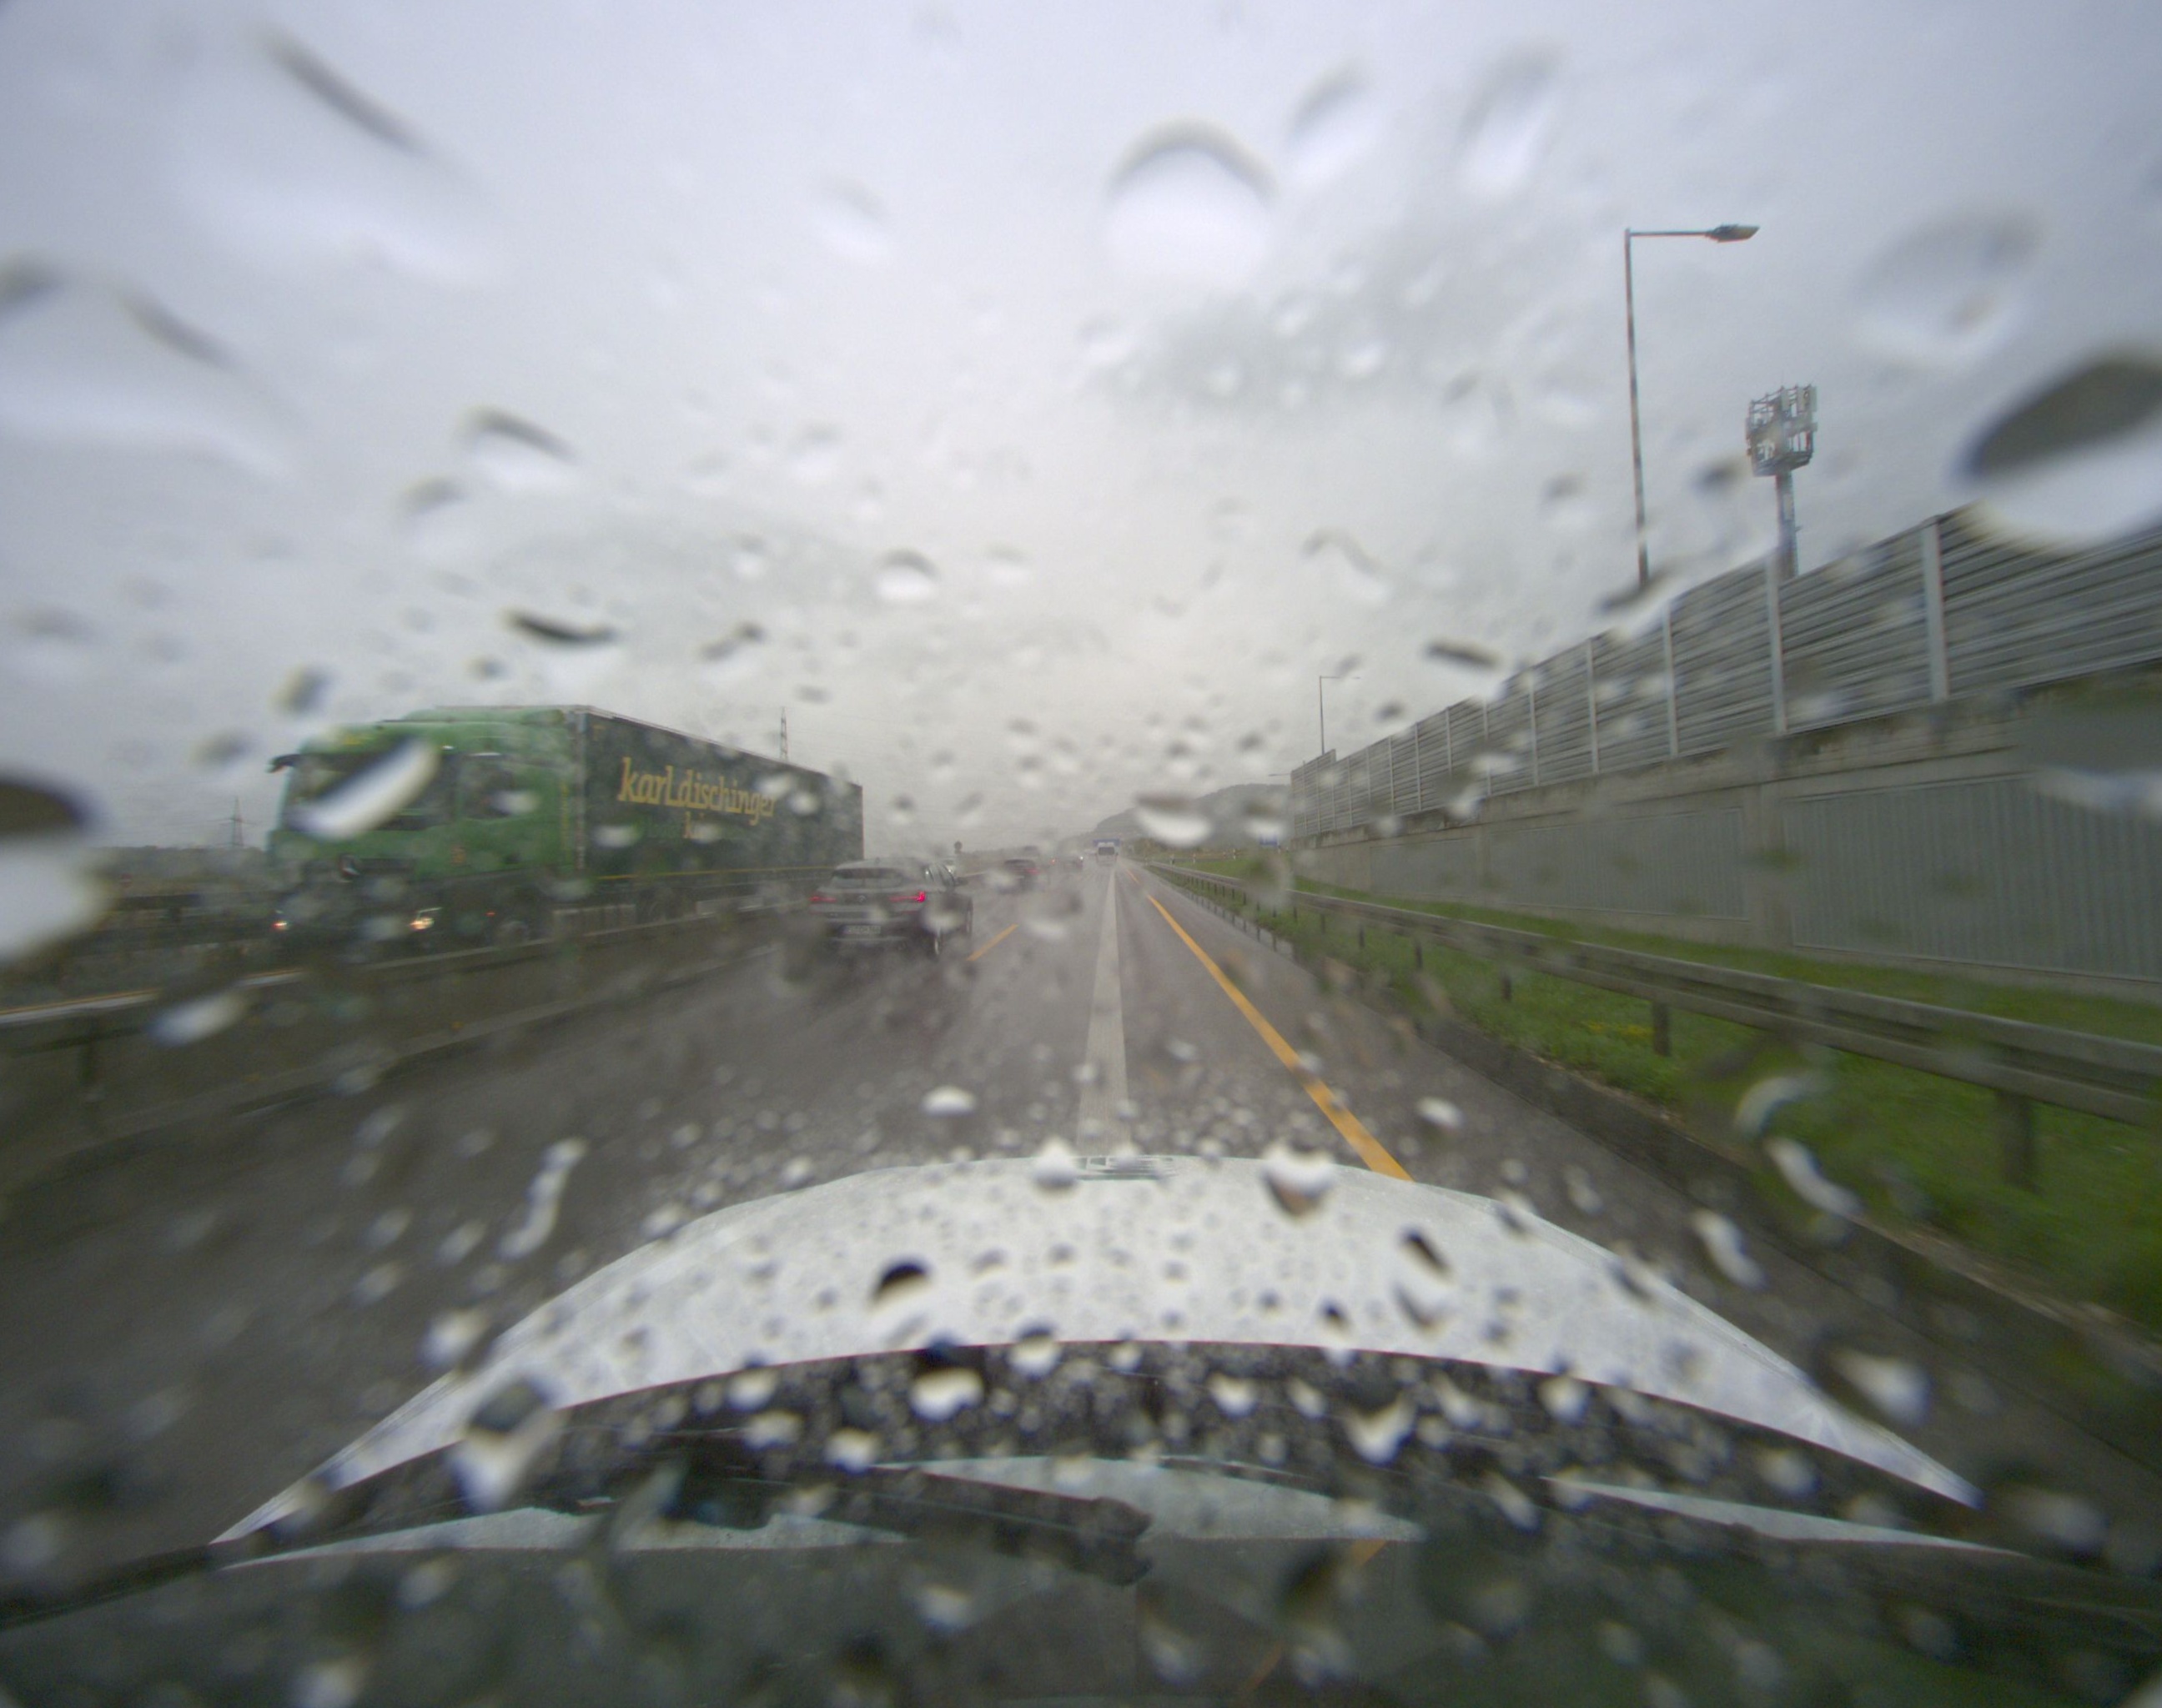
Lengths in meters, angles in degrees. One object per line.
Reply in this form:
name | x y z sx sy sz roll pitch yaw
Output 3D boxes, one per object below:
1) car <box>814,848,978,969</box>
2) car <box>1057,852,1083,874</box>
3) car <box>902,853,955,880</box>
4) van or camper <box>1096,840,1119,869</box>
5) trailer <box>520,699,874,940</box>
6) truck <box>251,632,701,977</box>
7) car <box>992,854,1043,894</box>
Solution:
car | -2.777 0.789 13.329 1.696 1.598 4.841 0 -1 -2
car | -0.827 0.647 60.955 1.839 1.491 4.259 -3 0 -1
car | -8.488 0.680 45.796 1.721 1.437 5.440 0 0 2
van or camper | 2.586 0.121 80.589 1.991 2.778 4.046 0 -2 -2
trailer | -8.870 -0.633 21.900 2.571 4.457 13.560 -1 0 2
truck | -9.223 -0.626 13.559 2.598 4.388 6.293 -1 0 2
car | -2.491 0.804 32.937 1.839 1.491 4.258 0 -1 -2
